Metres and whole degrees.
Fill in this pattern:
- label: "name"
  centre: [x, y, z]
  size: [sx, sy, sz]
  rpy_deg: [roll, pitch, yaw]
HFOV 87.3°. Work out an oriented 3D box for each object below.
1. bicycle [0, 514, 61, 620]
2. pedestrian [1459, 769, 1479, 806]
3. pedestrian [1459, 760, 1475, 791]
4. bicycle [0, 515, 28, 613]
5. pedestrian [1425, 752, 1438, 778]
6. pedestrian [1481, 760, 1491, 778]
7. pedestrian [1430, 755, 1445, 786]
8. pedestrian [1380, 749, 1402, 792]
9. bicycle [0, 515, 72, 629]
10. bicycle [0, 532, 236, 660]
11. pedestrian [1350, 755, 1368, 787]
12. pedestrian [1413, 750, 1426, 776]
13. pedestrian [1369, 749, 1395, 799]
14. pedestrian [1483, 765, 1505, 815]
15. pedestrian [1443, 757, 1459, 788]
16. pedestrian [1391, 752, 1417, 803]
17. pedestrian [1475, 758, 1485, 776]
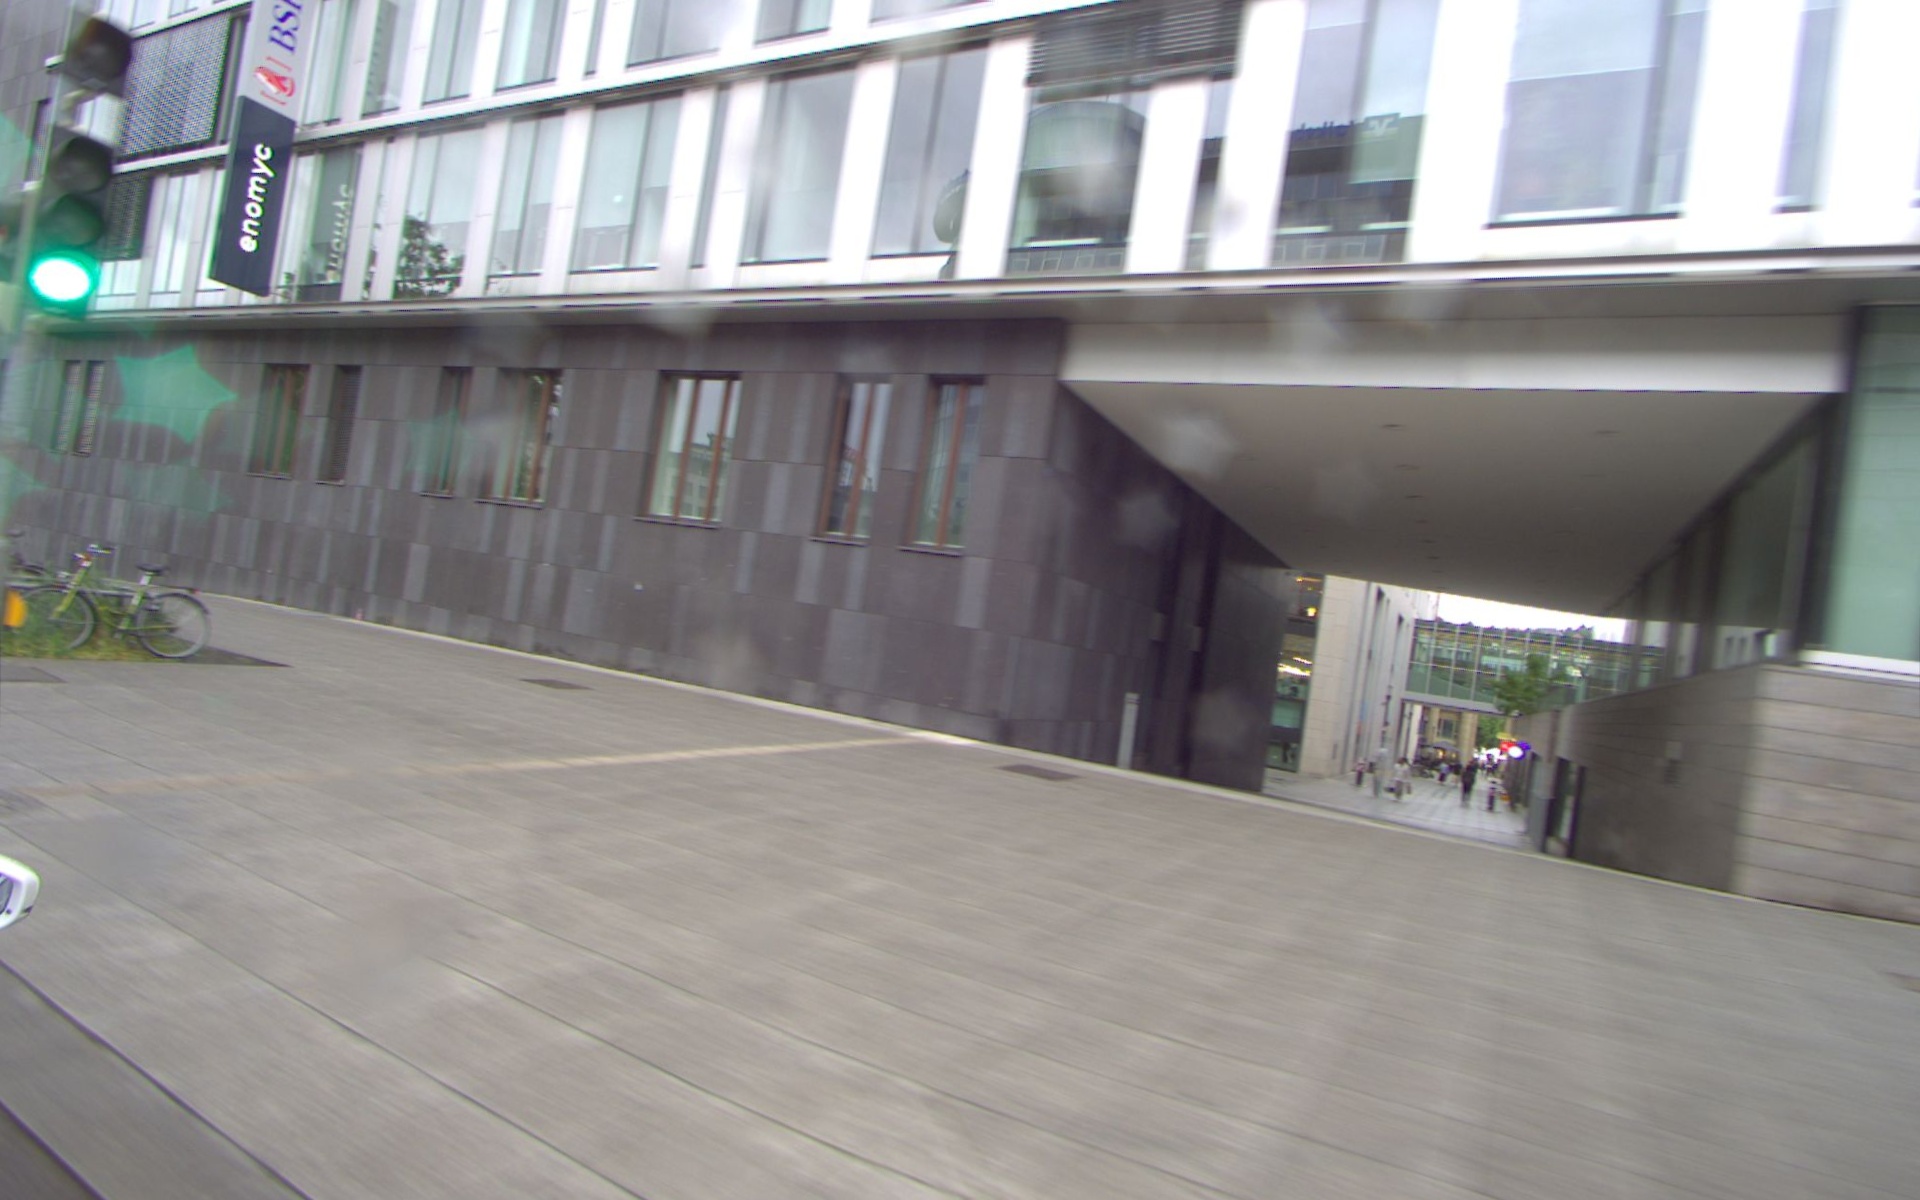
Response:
- label: "bicycle"
  centre: [-11.639, -0.457, 11.558]
  size: [0.677, 1.197, 1.736]
  rpy_deg: [7, -2, 23]
- label: "pedestrian"
  centre: [21.653, 7.969, 42.775]
  size: [0.557, 1.432, 0.462]
  rpy_deg: [6, -4, 32]
- label: "pedestrian"
  centre: [32.125, 11.104, 63.762]
  size: [0.689, 1.795, 0.593]
  rpy_deg: [7, -4, 25]
- label: "bicycle"
  centre: [-12.390, -0.538, 11.927]
  size: [0.677, 1.197, 1.736]
  rpy_deg: [7, -2, 23]
- label: "pedestrian"
  centre: [34.761, 12.175, 74.117]
  size: [0.689, 1.795, 0.593]
  rpy_deg: [7, -4, 25]
- label: "pedestrian"
  centre: [52.012, 16.701, 99.452]
  size: [0.638, 1.678, 0.651]
  rpy_deg: [7, -4, 22]
- label: "pedestrian"
  centre: [30.677, 10.925, 64.609]
  size: [0.689, 1.843, 0.593]
  rpy_deg: [7, -4, 25]
- label: "pedestrian"
  centre: [18.321, 7.243, 42.752]
  size: [0.639, 1.680, 0.650]
  rpy_deg: [6, -1, 28]
- label: "bicycle"
  centre: [-10.813, -0.378, 10.774]
  size: [0.677, 1.197, 1.736]
  rpy_deg: [7, -2, 23]
- label: "bicycle"
  centre: [-8.550, 0.003, 10.229]
  size: [0.677, 1.082, 1.736]
  rpy_deg: [7, -2, 23]
- label: "pedestrian"
  centre: [17.179, 7.342, 43.273]
  size: [0.556, 1.256, 0.463]
  rpy_deg: [7, -4, 25]
- label: "pedestrian"
  centre: [34.048, 12.102, 74.527]
  size: [0.689, 1.795, 0.593]
  rpy_deg: [7, -4, 25]
- label: "pedestrian"
  centre: [16.258, 6.691, 38.743]
  size: [0.689, 1.795, 0.593]
  rpy_deg: [7, -4, 25]
- label: "pedestrian"
  centre: [21.843, 7.763, 41.171]
  size: [0.557, 1.935, 0.661]
  rpy_deg: [6, -4, 32]
- label: "pedestrian"
  centre: [31.297, 10.983, 64.129]
  size: [0.689, 1.843, 0.593]
  rpy_deg: [7, -4, 25]
- label: "pedestrian"
  centre: [16.938, 6.754, 38.392]
  size: [0.689, 1.795, 0.593]
  rpy_deg: [7, -4, 25]
- label: "pedestrian"
  centre: [52.819, 16.931, 102.199]
  size: [0.638, 1.678, 0.651]
  rpy_deg: [7, -4, 22]
